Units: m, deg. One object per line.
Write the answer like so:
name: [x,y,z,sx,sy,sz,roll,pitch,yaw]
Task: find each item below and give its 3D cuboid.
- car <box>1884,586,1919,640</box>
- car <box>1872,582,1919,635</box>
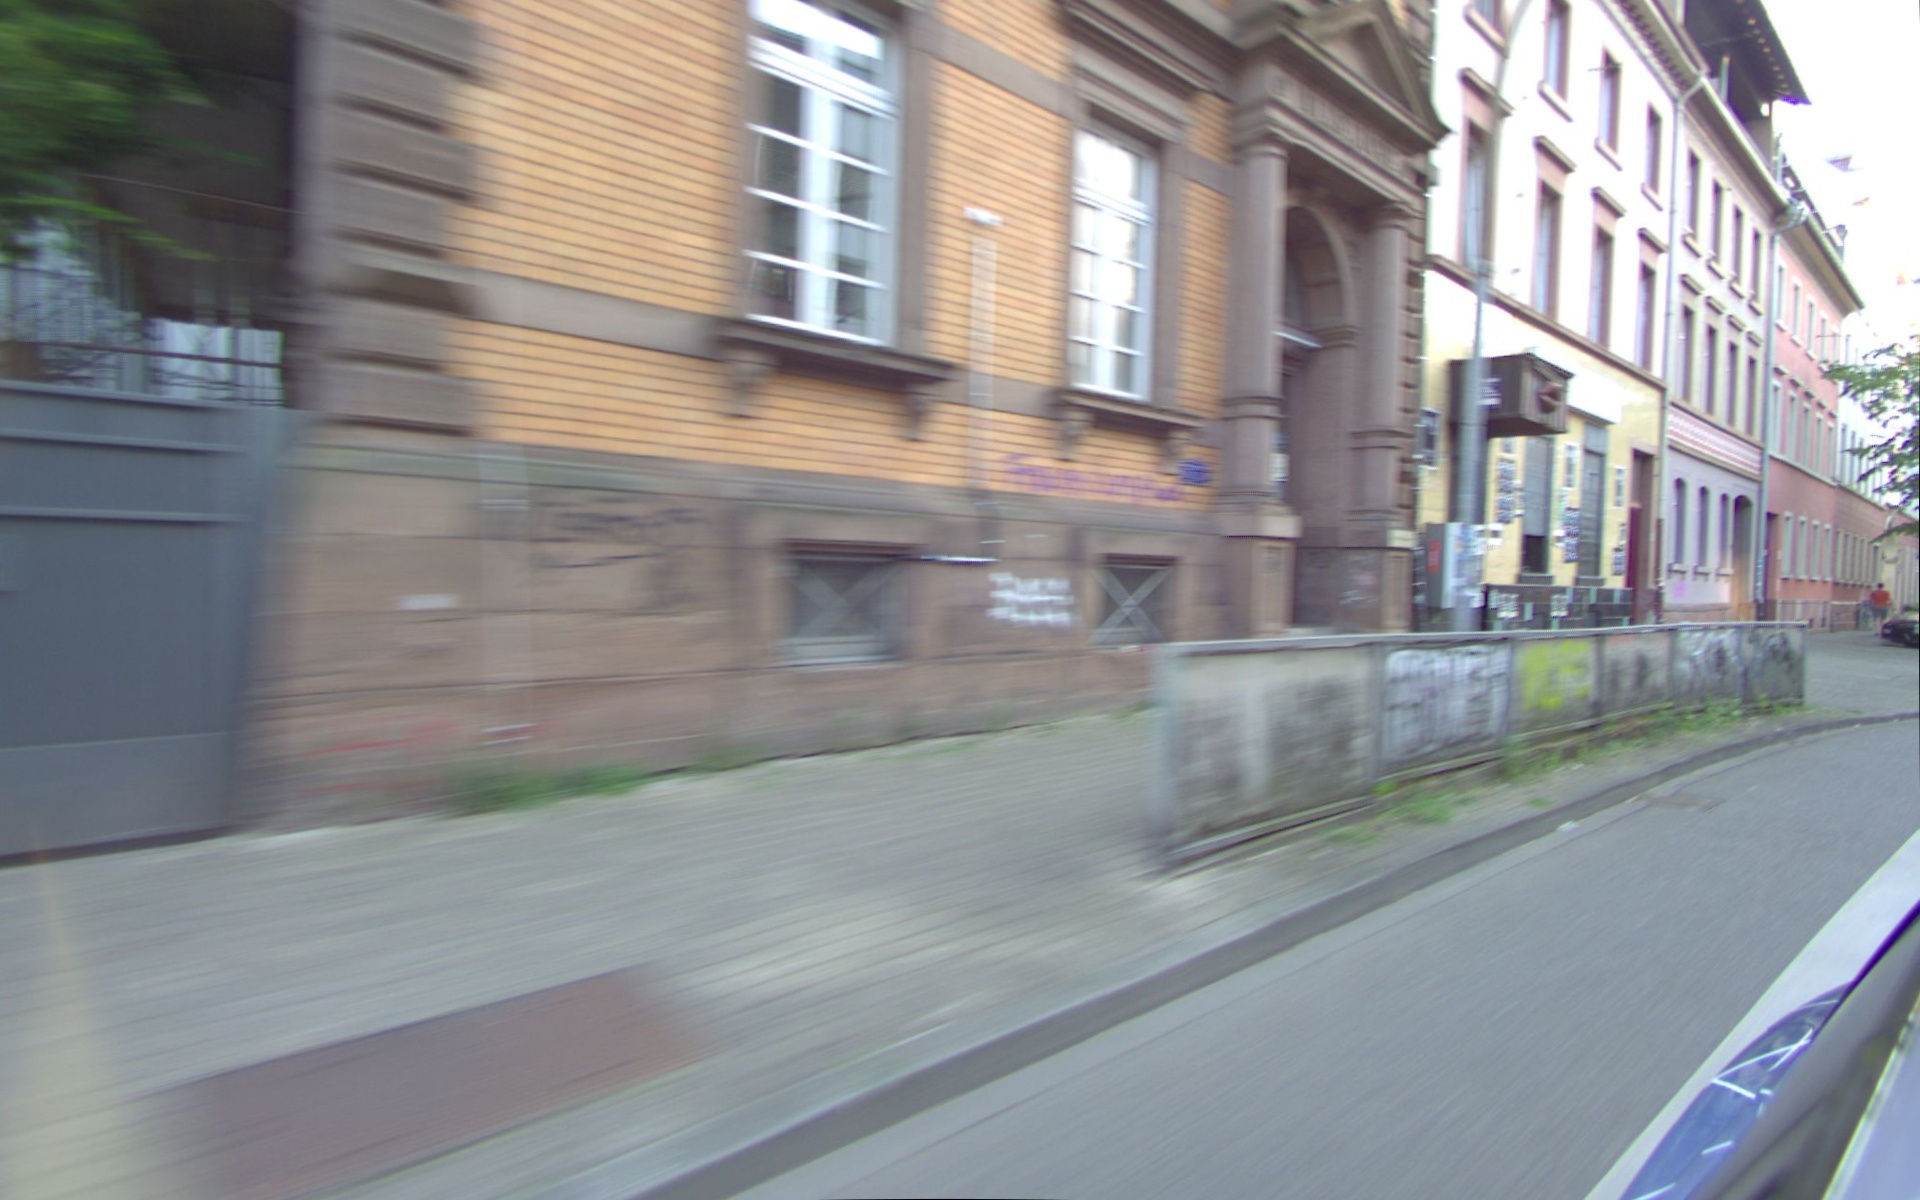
car: [28.890,0.478,27.938,4.571,1.475,1.697,4,3,25]
car: [30.853,0.331,30.914,3.958,1.509,1.816,3,4,25]
